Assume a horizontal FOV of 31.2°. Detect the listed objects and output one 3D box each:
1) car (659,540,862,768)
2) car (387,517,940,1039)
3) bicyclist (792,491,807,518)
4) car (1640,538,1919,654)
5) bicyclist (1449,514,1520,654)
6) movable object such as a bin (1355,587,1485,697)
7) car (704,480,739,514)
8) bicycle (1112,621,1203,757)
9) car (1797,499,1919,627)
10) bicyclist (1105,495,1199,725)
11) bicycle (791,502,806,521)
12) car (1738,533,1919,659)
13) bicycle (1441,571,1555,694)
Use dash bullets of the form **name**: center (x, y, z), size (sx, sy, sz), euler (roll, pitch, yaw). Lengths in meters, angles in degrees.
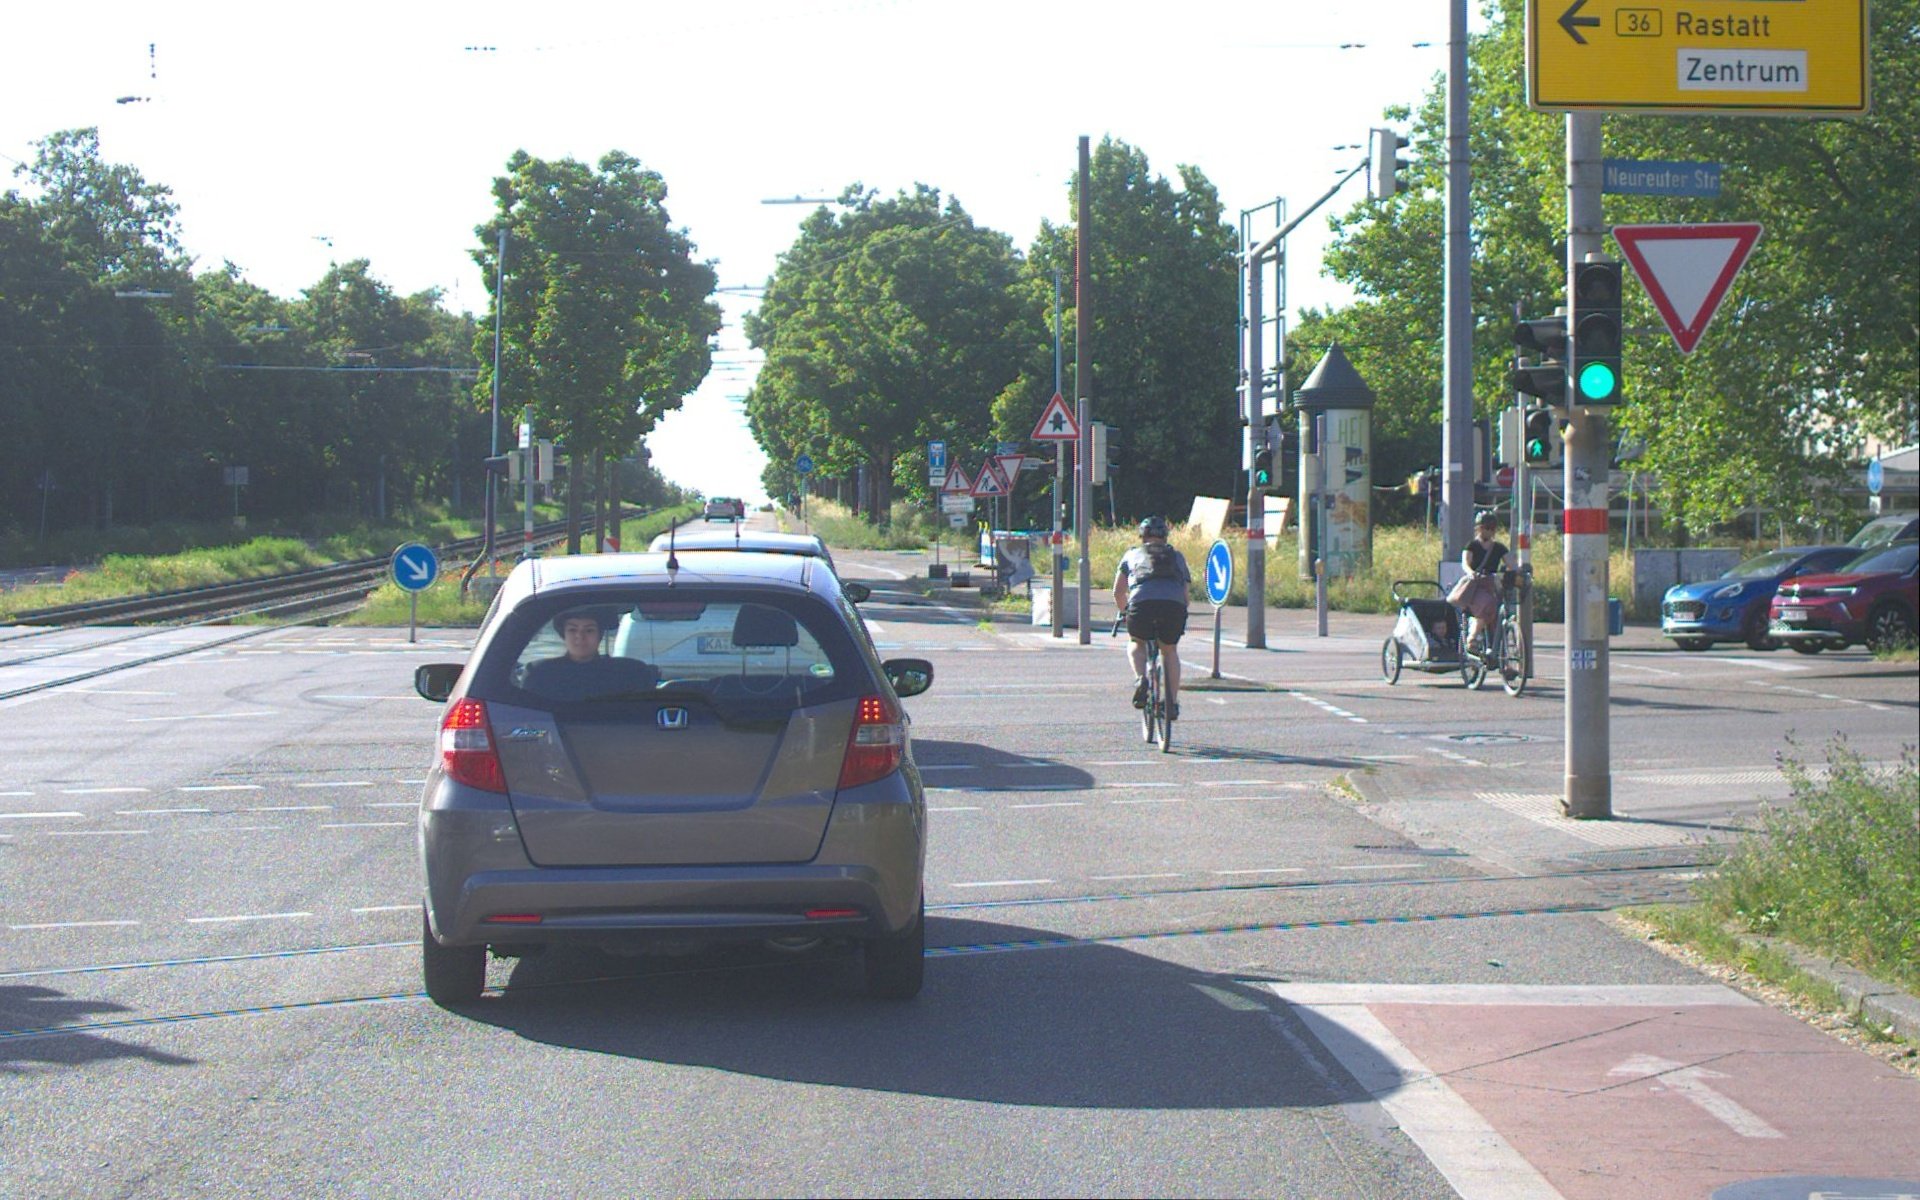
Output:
- **car**: center (-1.397, 0.337, 24.629), size (1.351, 1.522, 3.124), euler (0, 1, -2)
- **car**: center (-0.972, 0.512, 12.535), size (1.670, 1.510, 3.674), euler (2, 2, -2)
- **bicyclist**: center (-9.284, -5.482, 198.437), size (0.817, 1.519, 0.966), euler (1, 0, -2)
- **car**: center (11.845, -0.080, 49.433), size (3.847, 1.595, 1.713), euler (-1, 1, -29)
- **bicyclist**: center (5.054, -0.161, 33.162), size (0.509, 1.336, 0.565), euler (0, 1, -12)
- **movable object such as a bin**: center (4.598, 0.409, 34.463), size (0.908, 1.065, 1.317), euler (0, 1, -12)
- **car**: center (-14.151, -6.098, 204.136), size (1.993, 2.007, 4.000), euler (0, 1, -2)
- **bicycle**: center (1.452, 0.641, 25.560), size (0.524, 0.920, 2.089), euler (0, 1, -1)
- **car**: center (16.614, -0.606, 56.667), size (5.102, 2.063, 2.131), euler (0, 1, 0)
- **bicyclist**: center (1.418, 0.067, 25.498), size (0.615, 1.674, 0.933), euler (0, 1, -2)
- **bicycle**: center (-9.299, -5.107, 198.419), size (0.817, 1.044, 2.506), euler (1, 0, -2)
- **car**: center (12.458, -0.081, 45.252), size (4.076, 1.595, 1.817), euler (-1, 1, -25)
- **bicycle**: center (5.102, 0.293, 32.698), size (0.466, 1.115, 1.821), euler (0, 1, -11)
